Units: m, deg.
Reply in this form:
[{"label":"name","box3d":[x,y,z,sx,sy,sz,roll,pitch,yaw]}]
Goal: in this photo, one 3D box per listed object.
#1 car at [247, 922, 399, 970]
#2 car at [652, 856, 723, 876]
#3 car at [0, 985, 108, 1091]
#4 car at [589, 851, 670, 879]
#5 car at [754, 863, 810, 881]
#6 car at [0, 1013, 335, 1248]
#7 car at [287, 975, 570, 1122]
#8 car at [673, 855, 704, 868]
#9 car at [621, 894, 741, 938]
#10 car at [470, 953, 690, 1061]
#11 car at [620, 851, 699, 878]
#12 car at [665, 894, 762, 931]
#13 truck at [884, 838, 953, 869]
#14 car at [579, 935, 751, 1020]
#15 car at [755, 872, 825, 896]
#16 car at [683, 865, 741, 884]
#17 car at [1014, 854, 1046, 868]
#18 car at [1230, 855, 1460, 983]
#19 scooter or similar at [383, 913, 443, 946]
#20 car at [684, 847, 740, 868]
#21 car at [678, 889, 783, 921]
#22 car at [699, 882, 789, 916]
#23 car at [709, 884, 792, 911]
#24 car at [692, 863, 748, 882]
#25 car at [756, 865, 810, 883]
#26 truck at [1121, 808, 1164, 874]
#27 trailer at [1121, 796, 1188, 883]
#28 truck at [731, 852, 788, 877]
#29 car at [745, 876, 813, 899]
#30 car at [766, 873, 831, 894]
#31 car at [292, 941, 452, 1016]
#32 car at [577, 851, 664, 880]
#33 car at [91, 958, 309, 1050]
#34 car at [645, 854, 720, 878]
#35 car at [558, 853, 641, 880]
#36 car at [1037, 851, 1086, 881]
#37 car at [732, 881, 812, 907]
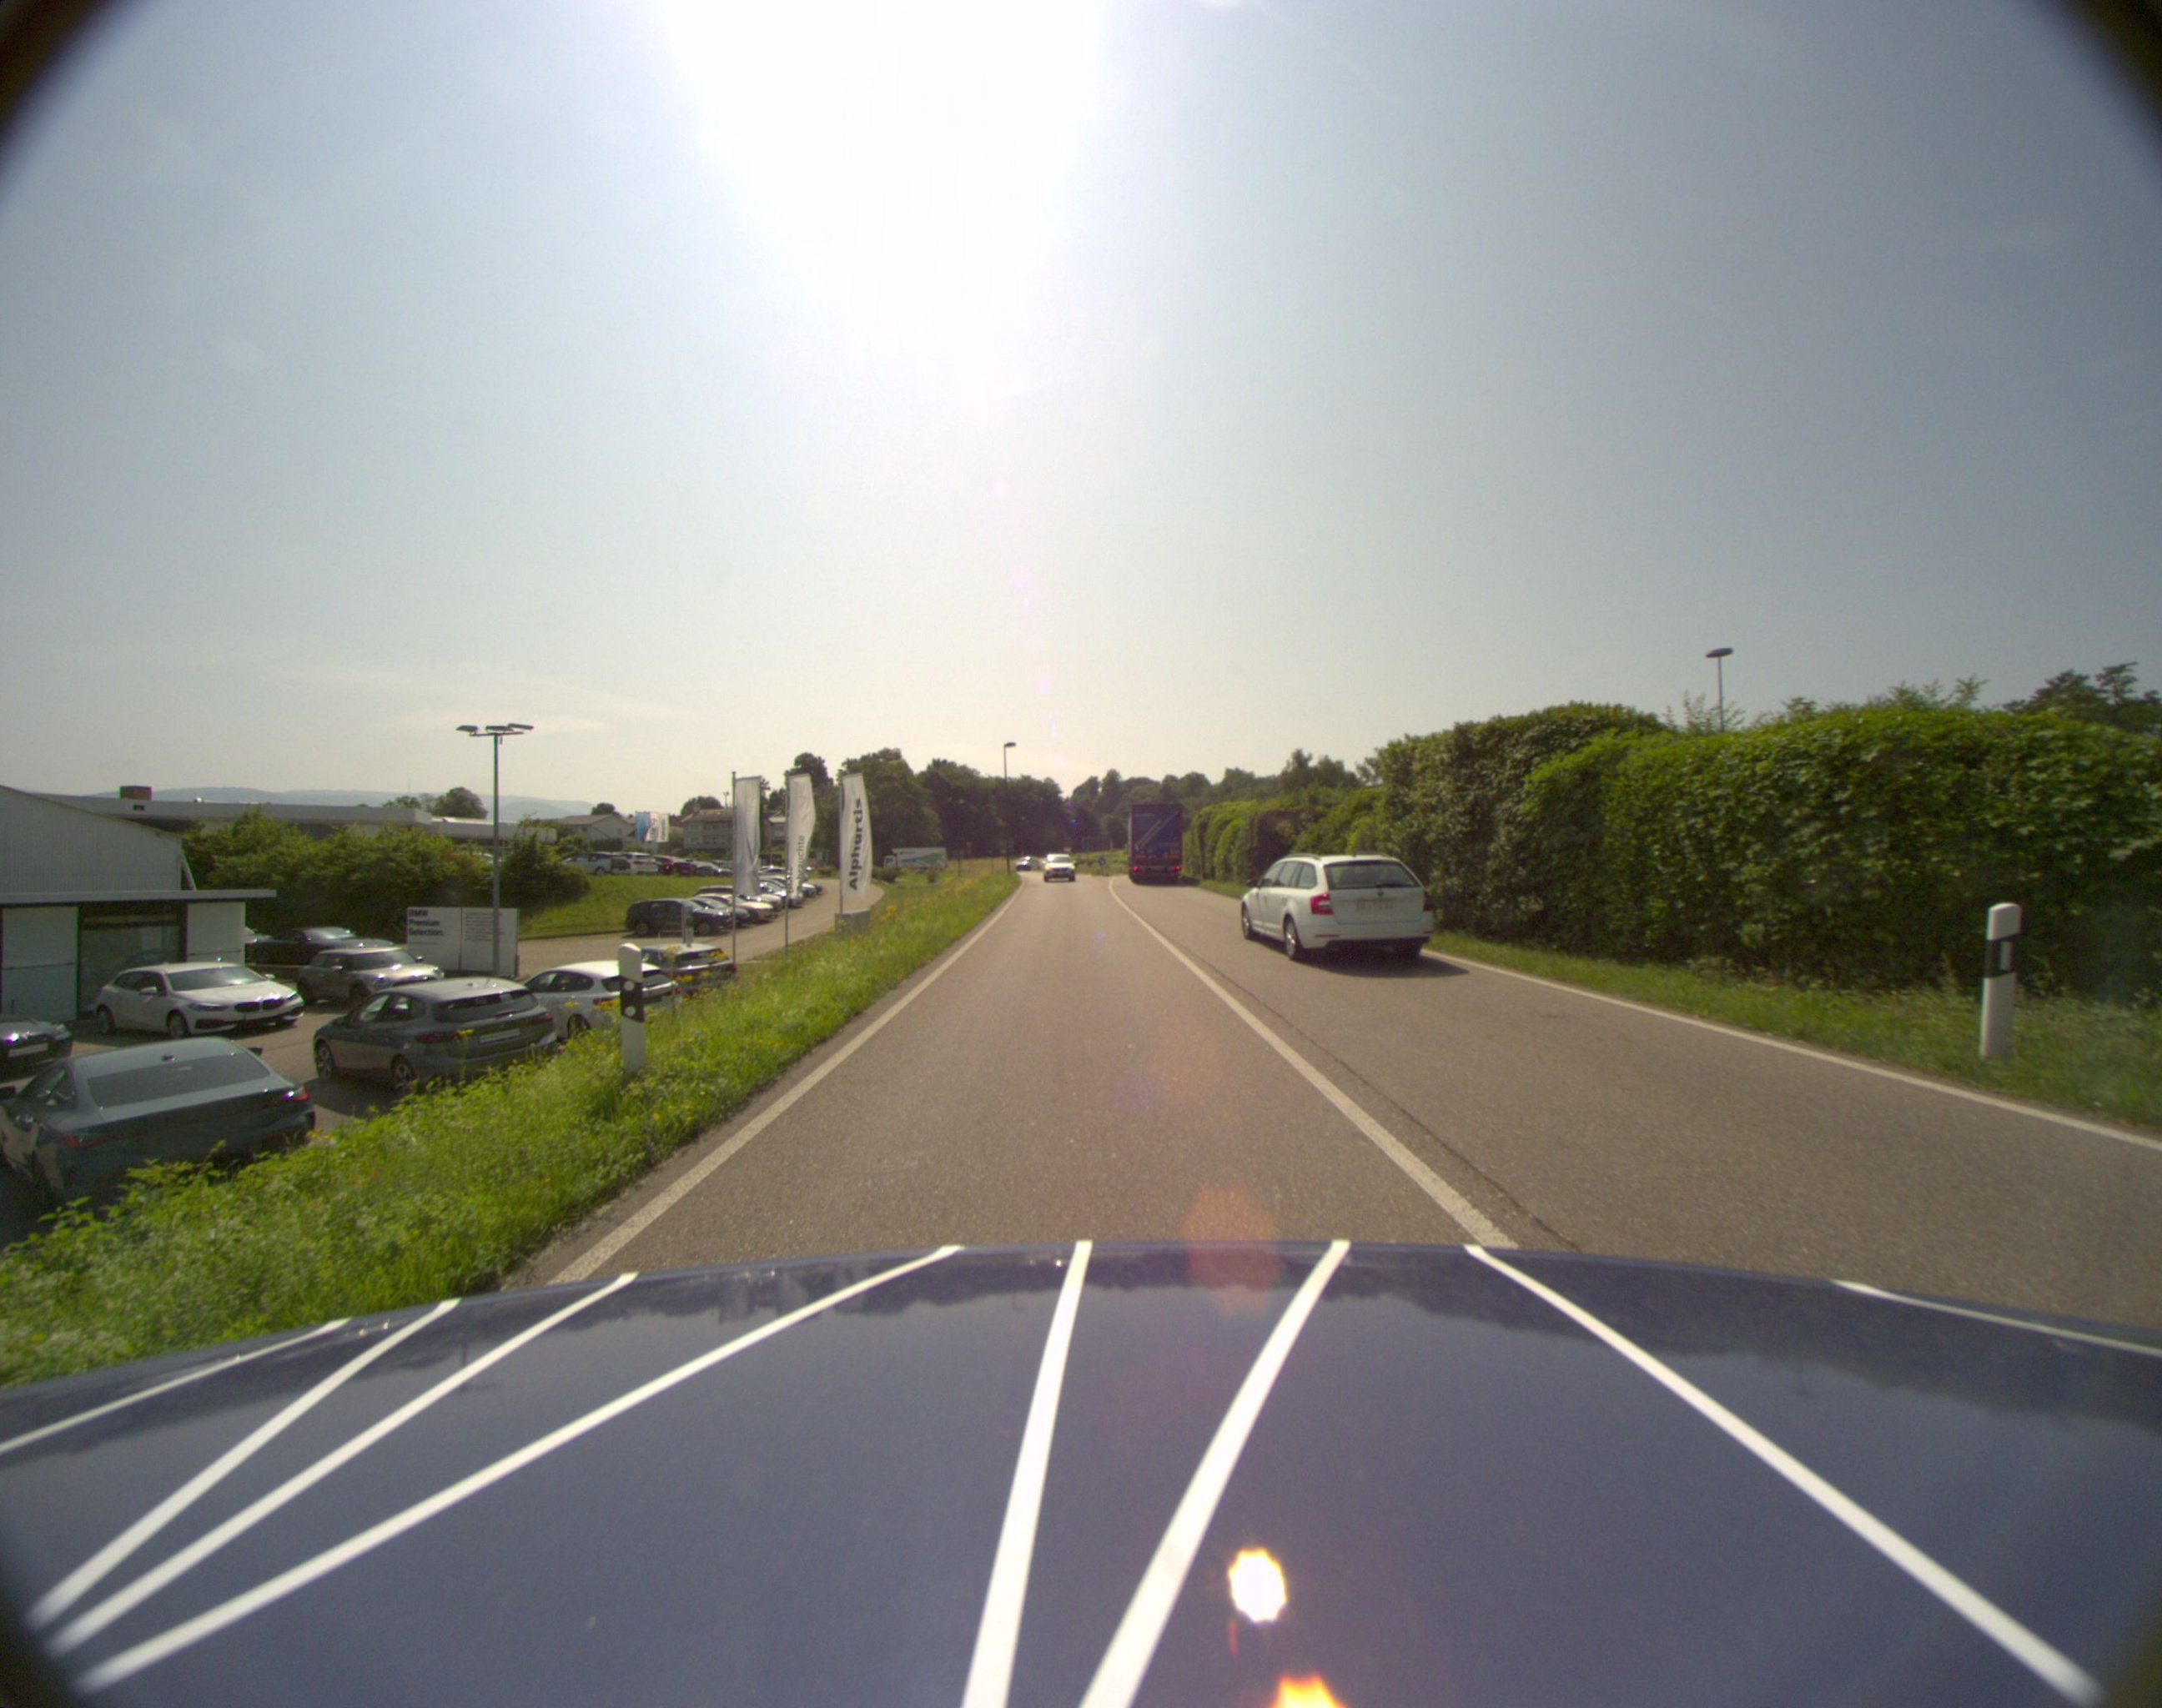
[{"label":"car","box3d":[-26.071,3.155,26.178,3.945,1.368,1.720,-2,1,11]},{"label":"car","box3d":[-29.570,0.920,57.152,4.460,1.491,1.952,0,0,12]},{"label":"car","box3d":[-20.155,3.222,12.981,4.437,1.514,1.932,-1,0,-1]},{"label":"car","box3d":[-29.119,0.734,49.041,4.460,1.737,1.841,0,0,12]},{"label":"car","box3d":[-28.151,1.693,71.616,4.673,1.561,1.764,2,-1,-27]},{"label":"car","box3d":[-10.786,2.917,8.768,4.161,1.514,1.859,-2,1,28]},{"label":"car","box3d":[-10.283,2.888,11.950,4.162,1.514,1.859,-2,1,27]},{"label":"car","box3d":[-45.817,0.901,88.692,4.363,1.503,1.914,-1,-1,44]},{"label":"car","box3d":[-18.731,2.884,35.815,4.496,1.631,2.145,-2,2,-11]},{"label":"car","box3d":[-9.871,2.882,14.923,4.161,1.514,1.754,-2,1,28]},{"label":"car","box3d":[-28.568,0.698,51.511,4.460,1.737,1.951,0,0,12]},{"label":"car","box3d":[-18.565,2.927,38.532,4.001,1.543,1.997,-1,2,-11]},{"label":"truck","box3d":[-22.126,-0.128,103.911,9.023,3.807,2.898,-2,1,-9]},{"label":"car","box3d":[-9.926,2.841,18.064,4.161,1.514,1.693,-2,1,32]},{"label":"car","box3d":[-21.242,2.182,55.617,4.576,1.557,1.919,1,2,-16]},{"label":"car","box3d":[-30.383,1.709,62.567,4.000,1.517,1.952,-1,-1,18]},{"label":"car","box3d":[-6.887,0.916,102.757,2.193,1.642,6.025,-2,0,17]},{"label":"car","box3d":[3.672,0.803,11.508,1.833,1.462,4.409,-2,0,-1]},{"label":"scooter or similar","box3d":[-29.511,3.335,33.598,1.980,1.306,0.622,-2,1,-3]},{"label":"car","box3d":[-31.940,0.290,65.808,4.001,1.740,1.952,1,0,12]},{"label":"car","box3d":[-18.808,2.724,40.966,4.781,1.500,1.998,0,2,-7]},{"label":"car","box3d":[-19.213,2.571,43.479,4.261,1.739,1.998,1,2,-7]},{"label":"car","box3d":[-19.863,2.609,45.819,4.261,1.457,1.872,0,2,-7]},{"label":"car","box3d":[-33.909,1.728,71.451,4.418,1.491,1.951,2,1,12]},{"label":"car","box3d":[-27.111,1.779,69.200,4.583,1.561,1.765,0,1,-22]},{"label":"truck","box3d":[4.116,-0.851,52.244,2.519,4.233,6.112,-1,1,1]},{"label":"trailer","box3d":[4.010,-0.770,44.960,2.677,4.216,14.565,-2,0,1]},{"label":"truck","box3d":[-34.013,1.112,80.308,5.615,2.649,1.952,-1,0,18]},{"label":"car","box3d":[-21.071,2.323,53.216,4.265,1.474,1.919,1,2,-16]},{"label":"car","box3d":[-21.520,2.224,57.933,4.578,1.413,1.779,1,2,-21]},{"label":"car","box3d":[-18.535,3.181,19.858,3.794,1.514,1.754,-2,1,26]},{"label":"car","box3d":[-28.072,0.717,46.378,4.460,1.737,1.841,0,0,12]},{"label":"car","box3d":[-19.325,3.206,16.690,3.962,1.514,1.754,-1,1,19]},{"label":"car","box3d":[-28.473,0.853,54.322,4.460,1.625,1.951,0,0,12]},{"label":"car","box3d":[-27.741,0.722,43.791,3.881,1.523,1.770,0,0,12]},{"label":"car","box3d":[-1.286,0.718,46.779,2.198,1.642,5.117,-2,0,-10]},{"label":"car","box3d":[-19.526,2.517,48.191,4.438,1.457,1.919,1,2,-15]}]
